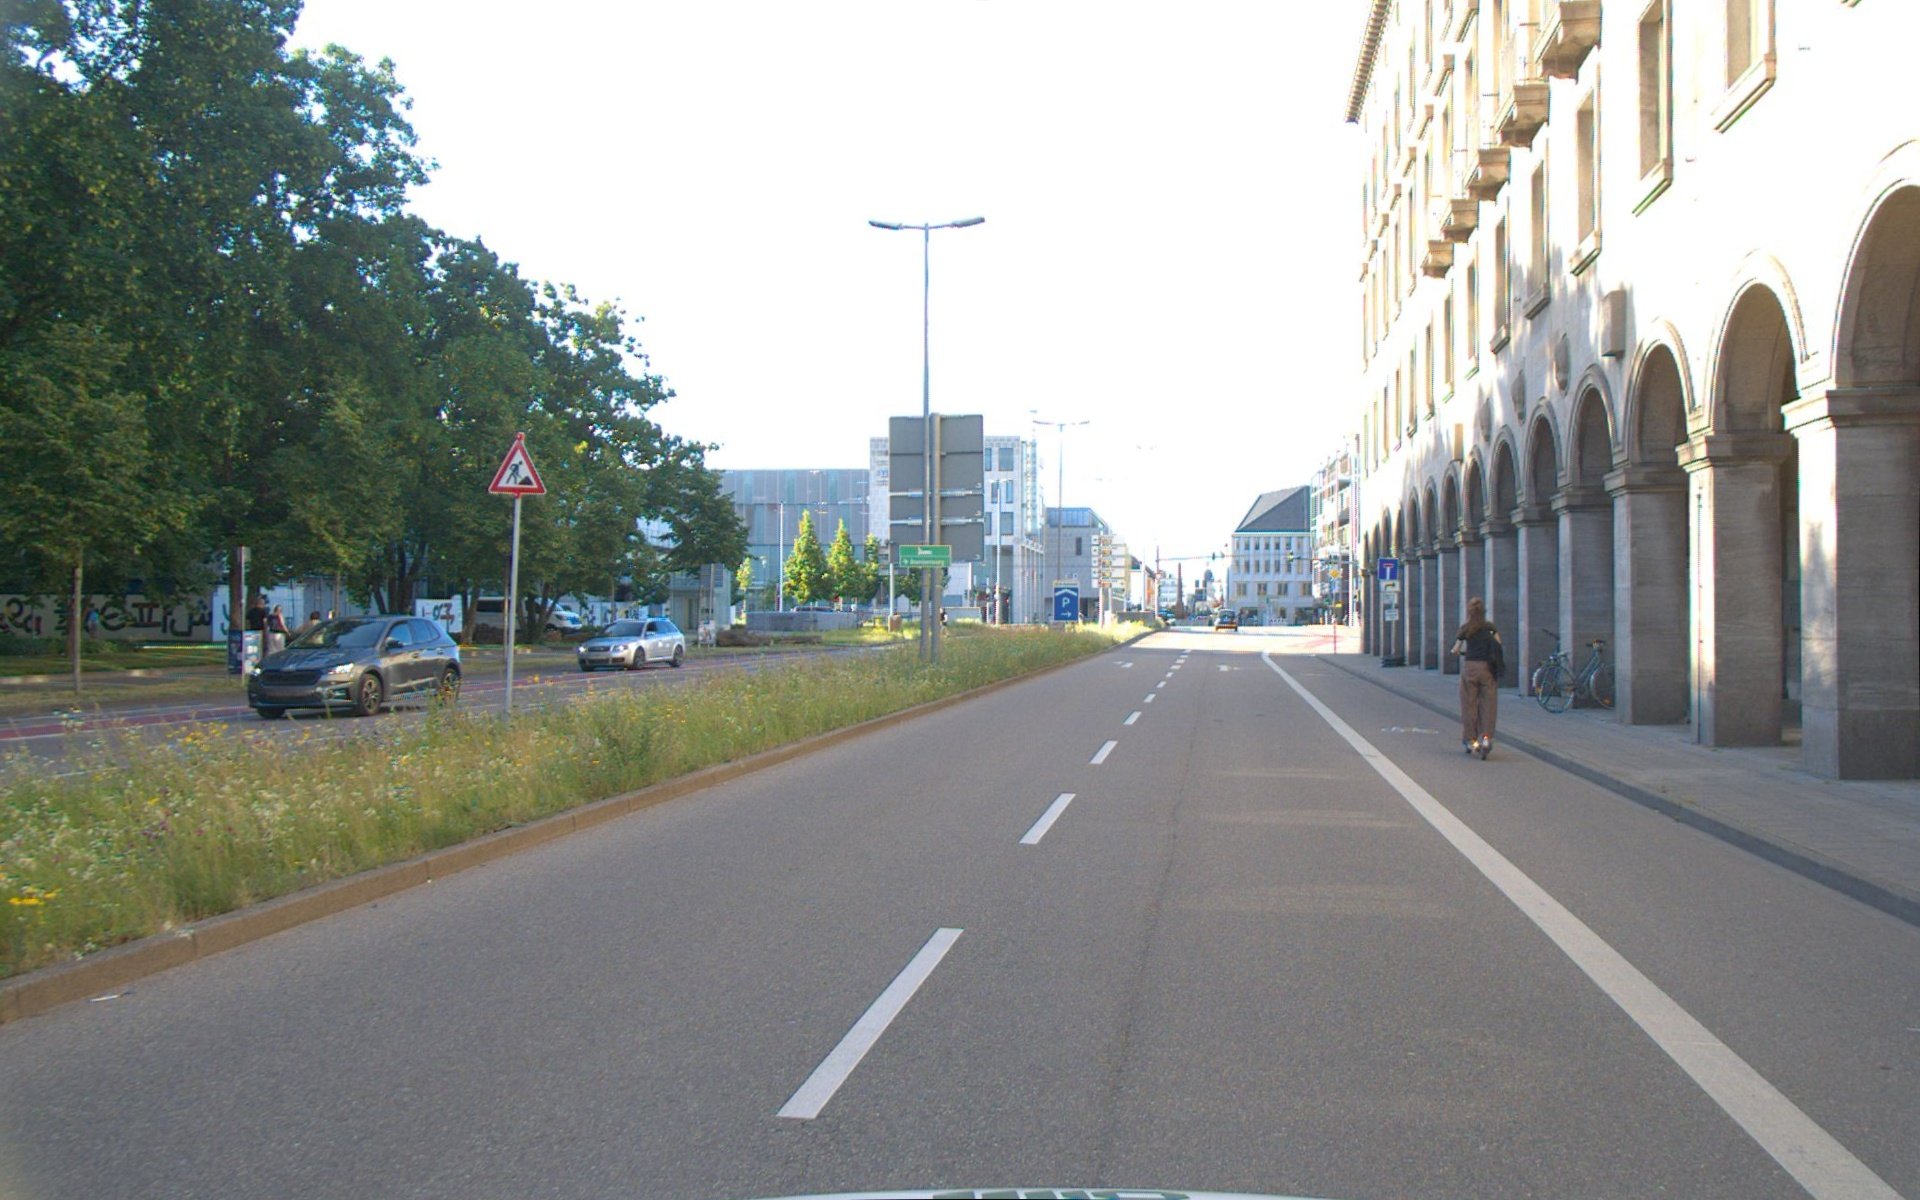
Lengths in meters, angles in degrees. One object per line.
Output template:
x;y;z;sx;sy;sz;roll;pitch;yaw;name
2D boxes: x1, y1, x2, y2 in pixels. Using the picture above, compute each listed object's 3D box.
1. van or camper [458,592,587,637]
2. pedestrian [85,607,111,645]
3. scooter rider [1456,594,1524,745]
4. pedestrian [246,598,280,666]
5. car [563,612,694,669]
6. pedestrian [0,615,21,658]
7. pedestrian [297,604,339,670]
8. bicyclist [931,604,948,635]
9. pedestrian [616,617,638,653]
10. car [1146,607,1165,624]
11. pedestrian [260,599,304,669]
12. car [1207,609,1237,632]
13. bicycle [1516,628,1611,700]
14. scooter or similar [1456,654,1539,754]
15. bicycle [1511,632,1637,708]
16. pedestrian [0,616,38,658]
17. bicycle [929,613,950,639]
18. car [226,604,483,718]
-21.065;0.723;79.687;5.542;2.049;2.259;-1;-2;10;van or camper
-38.014;1.148;72.946;0.708;1.670;0.745;0;-1;15;pedestrian
5.931;0.767;18.531;0.550;1.660;0.650;0;-1;0;scooter rider
-18.129;0.831;43.024;0.513;1.771;0.655;0;-1;13;pedestrian
-9.386;1.118;47.227;1.892;1.553;4.591;0;-1;14;car
-35.052;1.336;60.503;0.883;1.567;0.895;0;-1;2;pedestrian
-16.598;0.947;42.768;0.726;1.670;0.727;0;-1;13;pedestrian
-1.135;1.050;91.495;0.731;1.617;1.203;-1;3;9;bicyclist
-14.395;1.499;71.556;0.599;1.554;0.943;0;0;14;pedestrian
22.884;1.811;193.415;1.951;1.773;4.650;0;1;9;car
-17.503;0.873;42.722;0.755;1.771;0.761;0;-1;13;pedestrian
18.665;1.477;117.846;1.738;1.591;3.791;0;-1;4;car
9.694;1.015;26.539;1.696;1.069;0.604;-1;-1;-38;bicycle
5.945;1.137;18.344;0.544;1.049;1.117;0;-1;-1;scooter or similar
9.149;1.034;24.670;1.675;1.069;0.527;-2;-1;-6;bicycle
-34.971;1.373;61.472;0.883;1.567;0.895;0;-1;2;pedestrian
-1.134;1.436;91.415;0.741;1.297;2.261;1;3;9;bicycle
-9.130;0.870;25.324;1.951;1.592;4.064;0;-1;9;car
